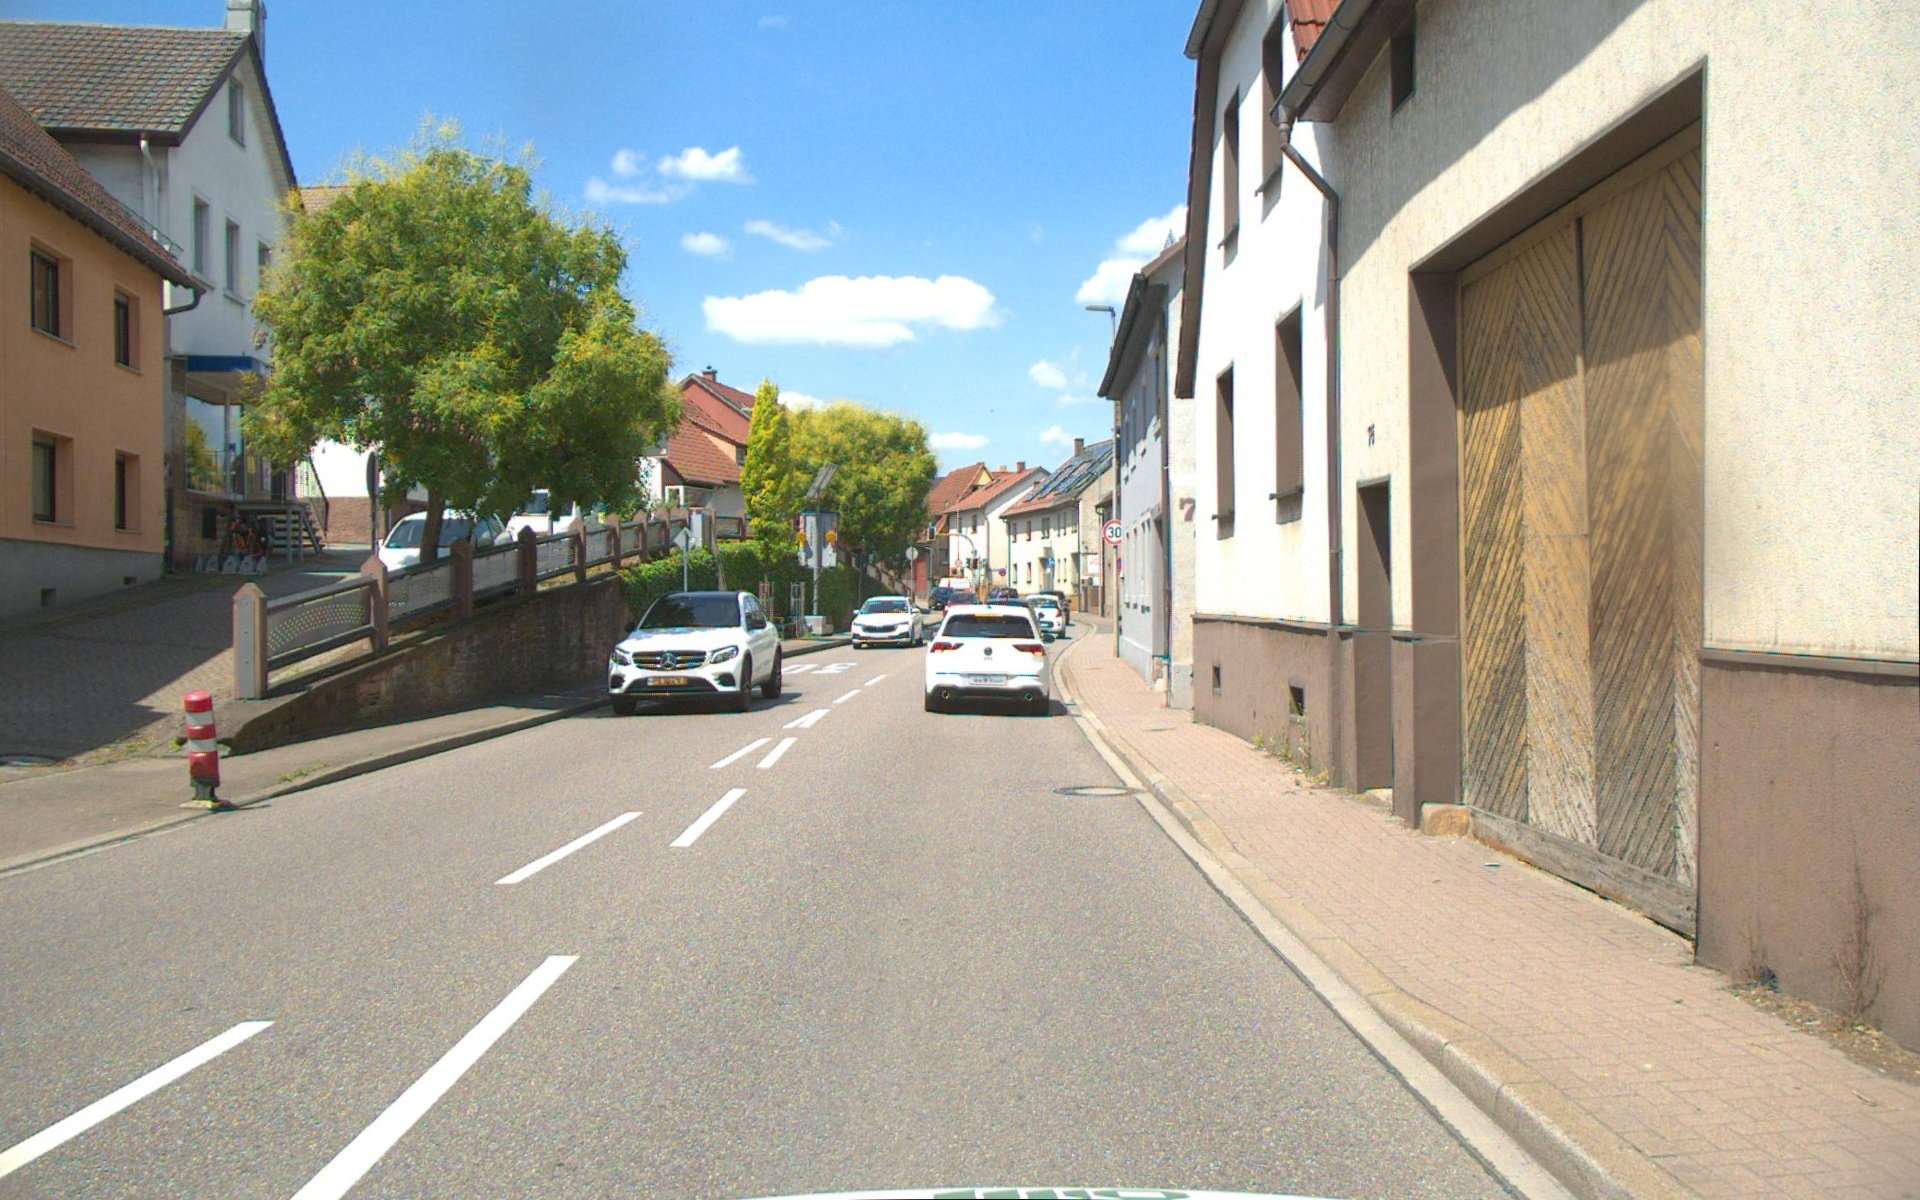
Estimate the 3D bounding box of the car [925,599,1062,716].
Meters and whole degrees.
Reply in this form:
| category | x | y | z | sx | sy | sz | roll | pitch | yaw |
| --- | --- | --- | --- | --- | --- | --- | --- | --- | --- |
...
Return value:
| category | x | y | z | sx | sy | sz | roll | pitch | yaw |
| --- | --- | --- | --- | --- | --- | --- | --- | --- | --- |
| car | 0.443 | 0.762 | 23.752 | 1.771 | 1.493 | 4.000 | 2 | 0 | 0 |

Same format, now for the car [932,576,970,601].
| category | x | y | z | sx | sy | sz | roll | pitch | yaw |
| --- | --- | --- | --- | --- | --- | --- | --- | --- | --- |
| car | -0.649 | -0.833 | 118.706 | 1.746 | 1.796 | 3.984 | 0 | 0 | -15 |

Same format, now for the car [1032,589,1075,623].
| category | x | y | z | sx | sy | sz | roll | pitch | yaw |
| --- | --- | --- | --- | --- | --- | --- | --- | --- | --- |
| car | 4.386 | 0.267 | 77.138 | 1.738 | 1.565 | 4.003 | 0 | 0 | 7 |

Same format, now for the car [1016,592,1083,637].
| category | x | y | z | sx | sy | sz | roll | pitch | yaw |
| --- | --- | --- | --- | --- | --- | --- | --- | --- | --- |
| car | 3.232 | 0.522 | 59.115 | 1.769 | 1.493 | 4.003 | 2 | 0 | 12 |

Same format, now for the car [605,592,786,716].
| category | x | y | z | sx | sy | sz | roll | pitch | yaw |
| --- | --- | --- | --- | --- | --- | --- | --- | --- | --- |
| car | -3.702 | 0.701 | 23.933 | 1.804 | 1.608 | 4.446 | -1 | 0 | 1 |

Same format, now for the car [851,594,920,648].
| category | x | y | z | sx | sy | sz | roll | pitch | yaw |
| --- | --- | --- | --- | --- | --- | --- | --- | --- | --- |
| car | -2.161 | 0.579 | 48.877 | 1.776 | 1.472 | 4.430 | -1 | 0 | 0 |

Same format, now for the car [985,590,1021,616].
| category | x | y | z | sx | sy | sz | roll | pitch | yaw |
| --- | --- | --- | --- | --- | --- | --- | --- | --- | --- |
| car | 2.684 | 0.177 | 104.096 | 1.742 | 1.565 | 3.994 | 0 | 0 | -7 |

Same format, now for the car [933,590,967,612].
| category | x | y | z | sx | sy | sz | roll | pitch | yaw |
| --- | --- | --- | --- | --- | --- | --- | --- | --- | --- |
| car | -0.659 | 0.076 | 106.845 | 1.760 | 1.401 | 4.110 | 0 | 0 | -7 |

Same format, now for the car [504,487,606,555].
| category | x | y | z | sx | sy | sz | roll | pitch | yaw |
| --- | --- | --- | --- | --- | --- | --- | --- | --- | --- |
| car | -9.473 | -1.893 | 38.946 | 1.545 | 1.385 | 3.857 | 0 | 6 | -2 |

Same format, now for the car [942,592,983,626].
| category | x | y | z | sx | sy | sz | roll | pitch | yaw |
| --- | --- | --- | --- | --- | --- | --- | --- | --- | --- |
| car | 0.138 | 0.414 | 76.328 | 1.583 | 1.469 | 3.803 | -2 | 0 | 4 |

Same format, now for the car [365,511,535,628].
| category | x | y | z | sx | sy | sz | roll | pitch | yaw |
| --- | --- | --- | --- | --- | --- | --- | --- | --- | --- |
| car | -8.198 | -0.561 | 26.928 | 1.659 | 1.569 | 3.857 | 0 | 6 | -2 |
